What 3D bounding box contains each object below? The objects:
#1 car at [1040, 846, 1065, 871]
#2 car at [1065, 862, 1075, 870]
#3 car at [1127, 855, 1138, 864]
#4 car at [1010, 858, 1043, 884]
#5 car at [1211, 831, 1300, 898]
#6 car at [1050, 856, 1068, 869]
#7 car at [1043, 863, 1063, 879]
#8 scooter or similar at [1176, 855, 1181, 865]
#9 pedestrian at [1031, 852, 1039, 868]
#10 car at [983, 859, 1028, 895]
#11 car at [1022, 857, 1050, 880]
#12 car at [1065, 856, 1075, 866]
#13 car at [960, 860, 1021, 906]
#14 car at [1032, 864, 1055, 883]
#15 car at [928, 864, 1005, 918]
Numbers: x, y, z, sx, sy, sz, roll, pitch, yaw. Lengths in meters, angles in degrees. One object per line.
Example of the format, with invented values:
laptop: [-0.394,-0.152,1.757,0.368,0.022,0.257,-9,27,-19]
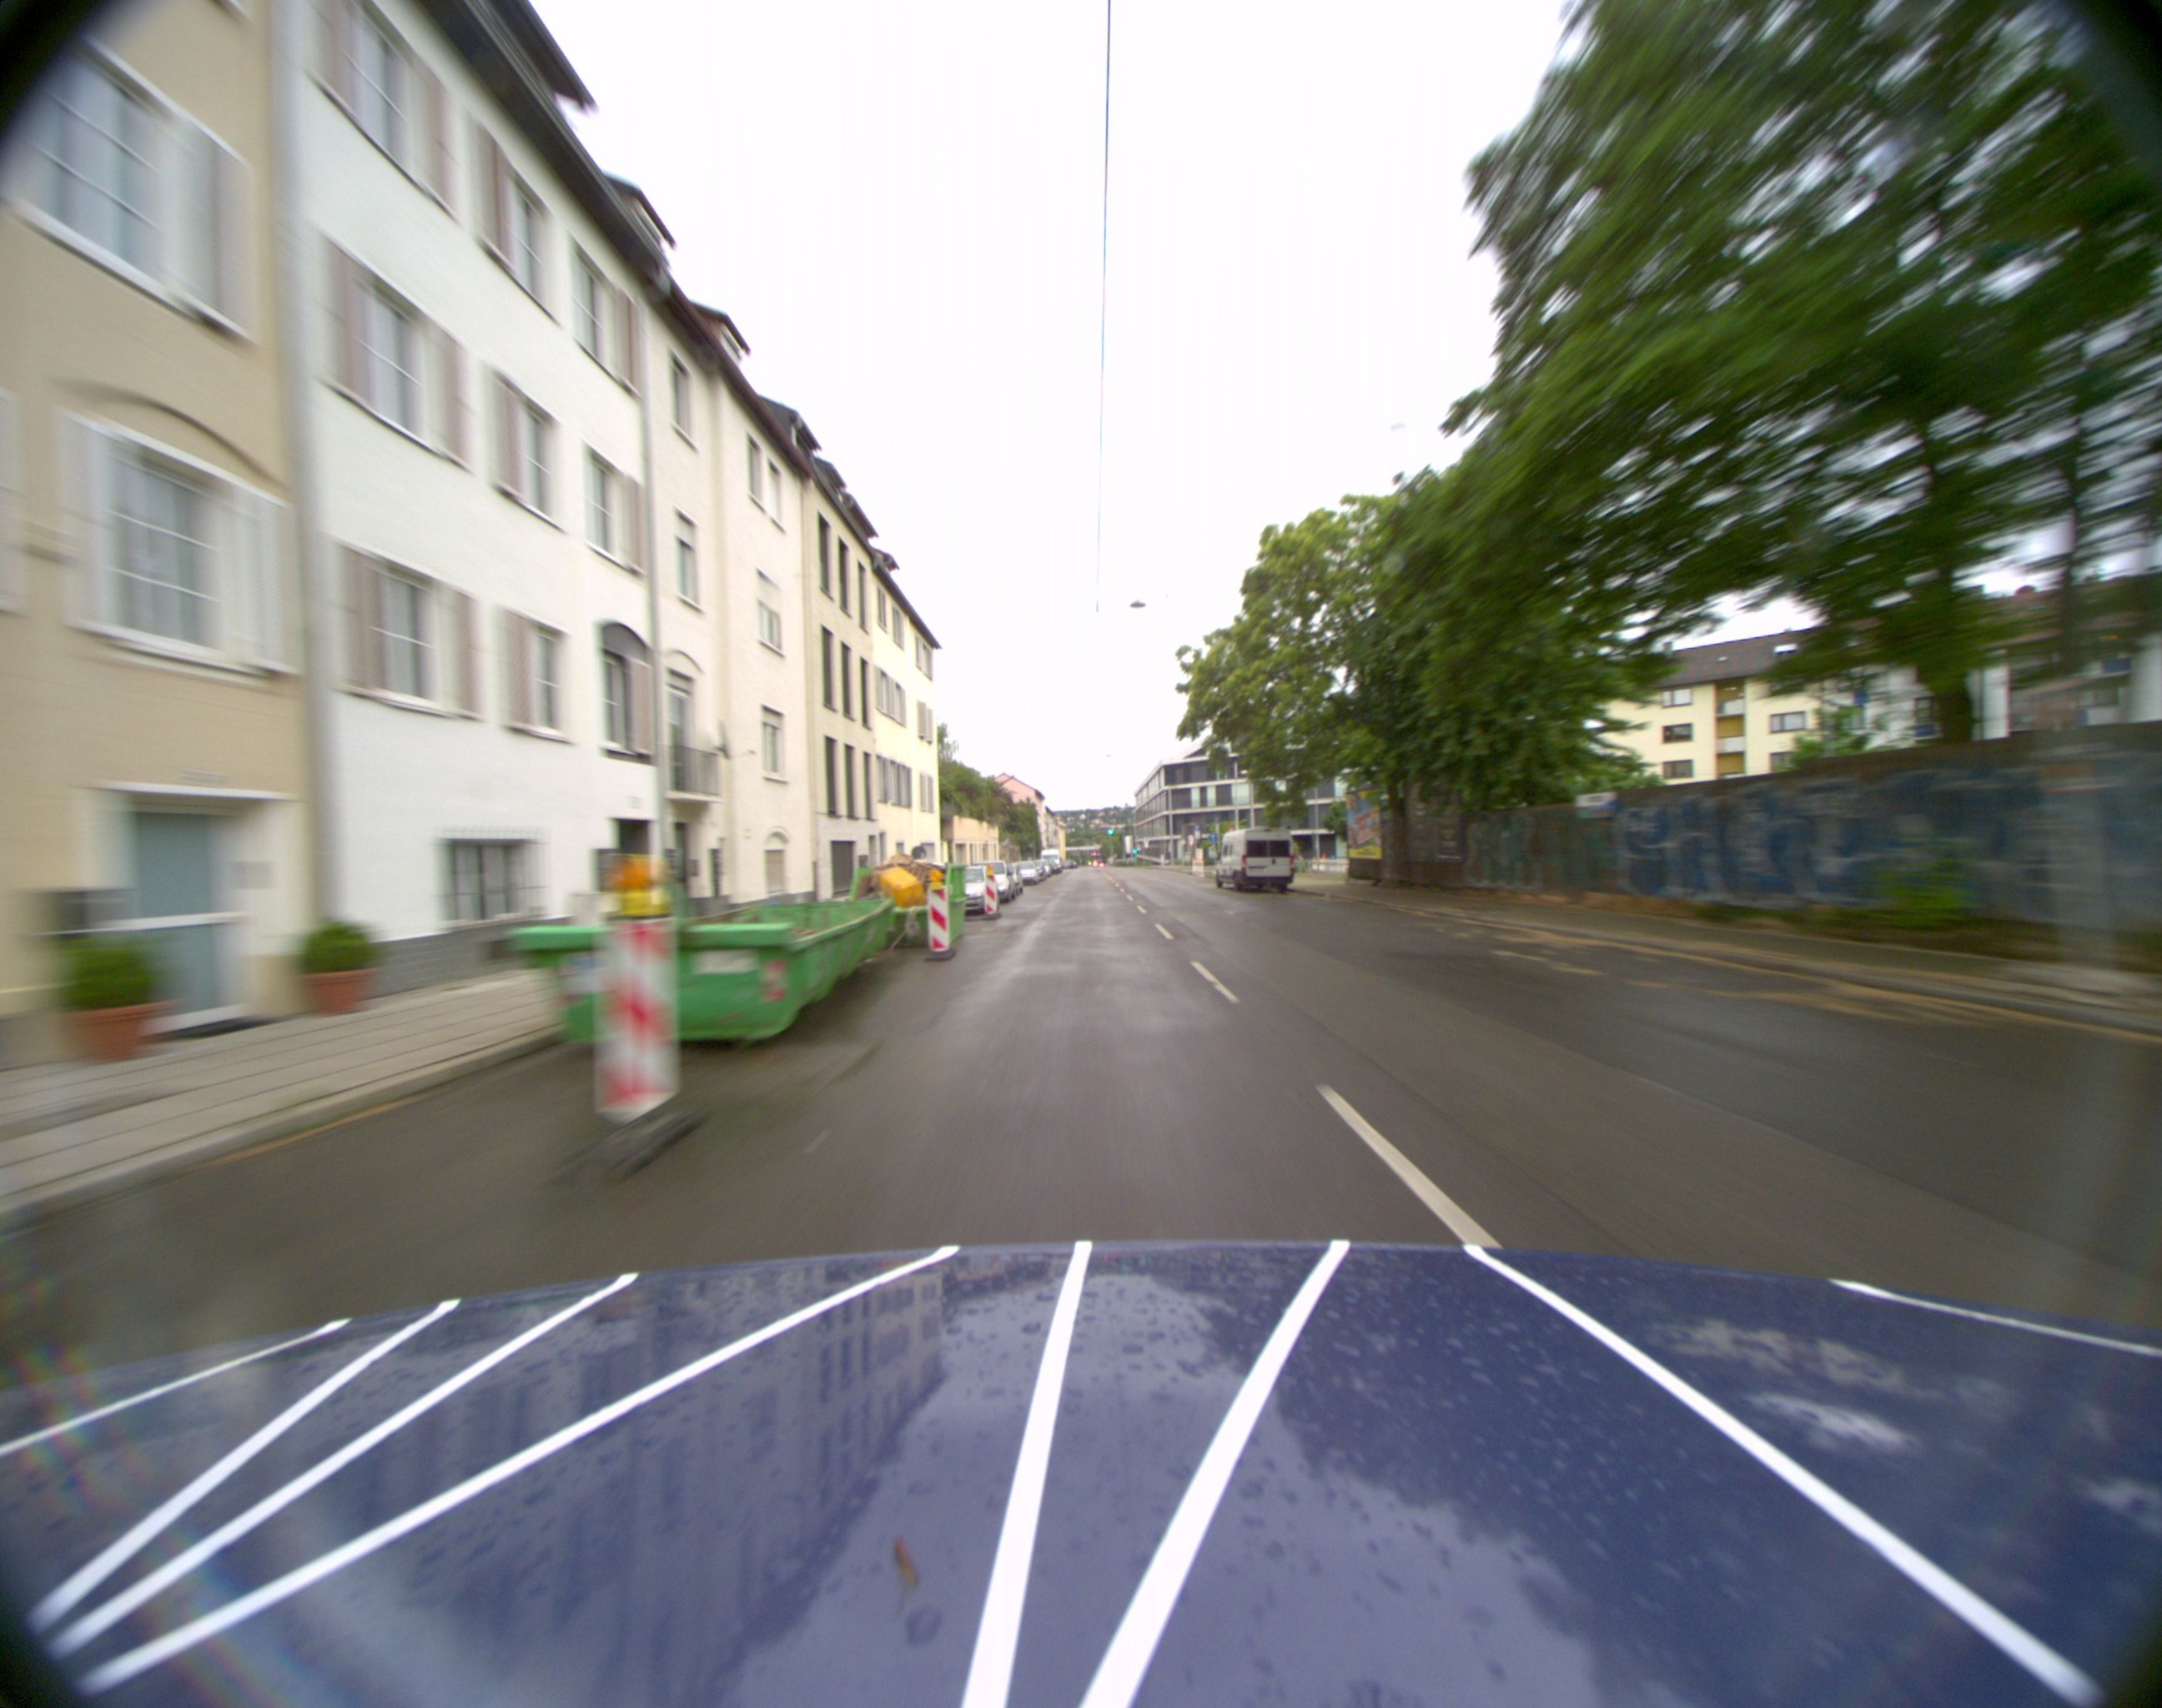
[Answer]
car: [-3.006,0.488,82.100,2.211,2.449,6.080,-3,0,1]
car: [-1.917,2.060,133.029,1.630,1.402,3.778,-2,-1,1]
car: [8.761,0.922,129.649,1.641,1.458,3.583,-2,0,-1]
car: [-3.279,0.983,46.303,1.633,1.445,3.759,-3,0,0]
car: [7.175,0.405,32.094,2.236,2.564,6.537,0,0,0]
car: [-2.535,1.008,88.429,1.725,1.413,4.203,-3,0,2]
car: [-2.727,1.645,74.908,1.693,1.445,4.235,-3,0,0]
scooter or similar: [11.996,0.746,93.643,0.497,1.241,1.231,-3,1,2]
pedestrian: [-4.962,0.686,82.033,0.725,1.705,0.905,0,0,2]
car: [-3.354,0.977,34.343,1.562,1.445,3.759,-3,0,0]
car: [-3.057,0.947,52.397,1.633,1.445,3.759,-3,0,0]
car: [-1.981,1.334,138.139,1.630,1.740,3.778,-2,-1,1]
car: [-3.380,1.046,29.006,1.720,1.515,4.000,-3,0,1]
car: [-3.136,1.605,64.003,1.693,1.445,4.235,-3,0,0]
car: [-3.430,1.067,23.317,1.630,1.402,3.842,-3,0,1]
